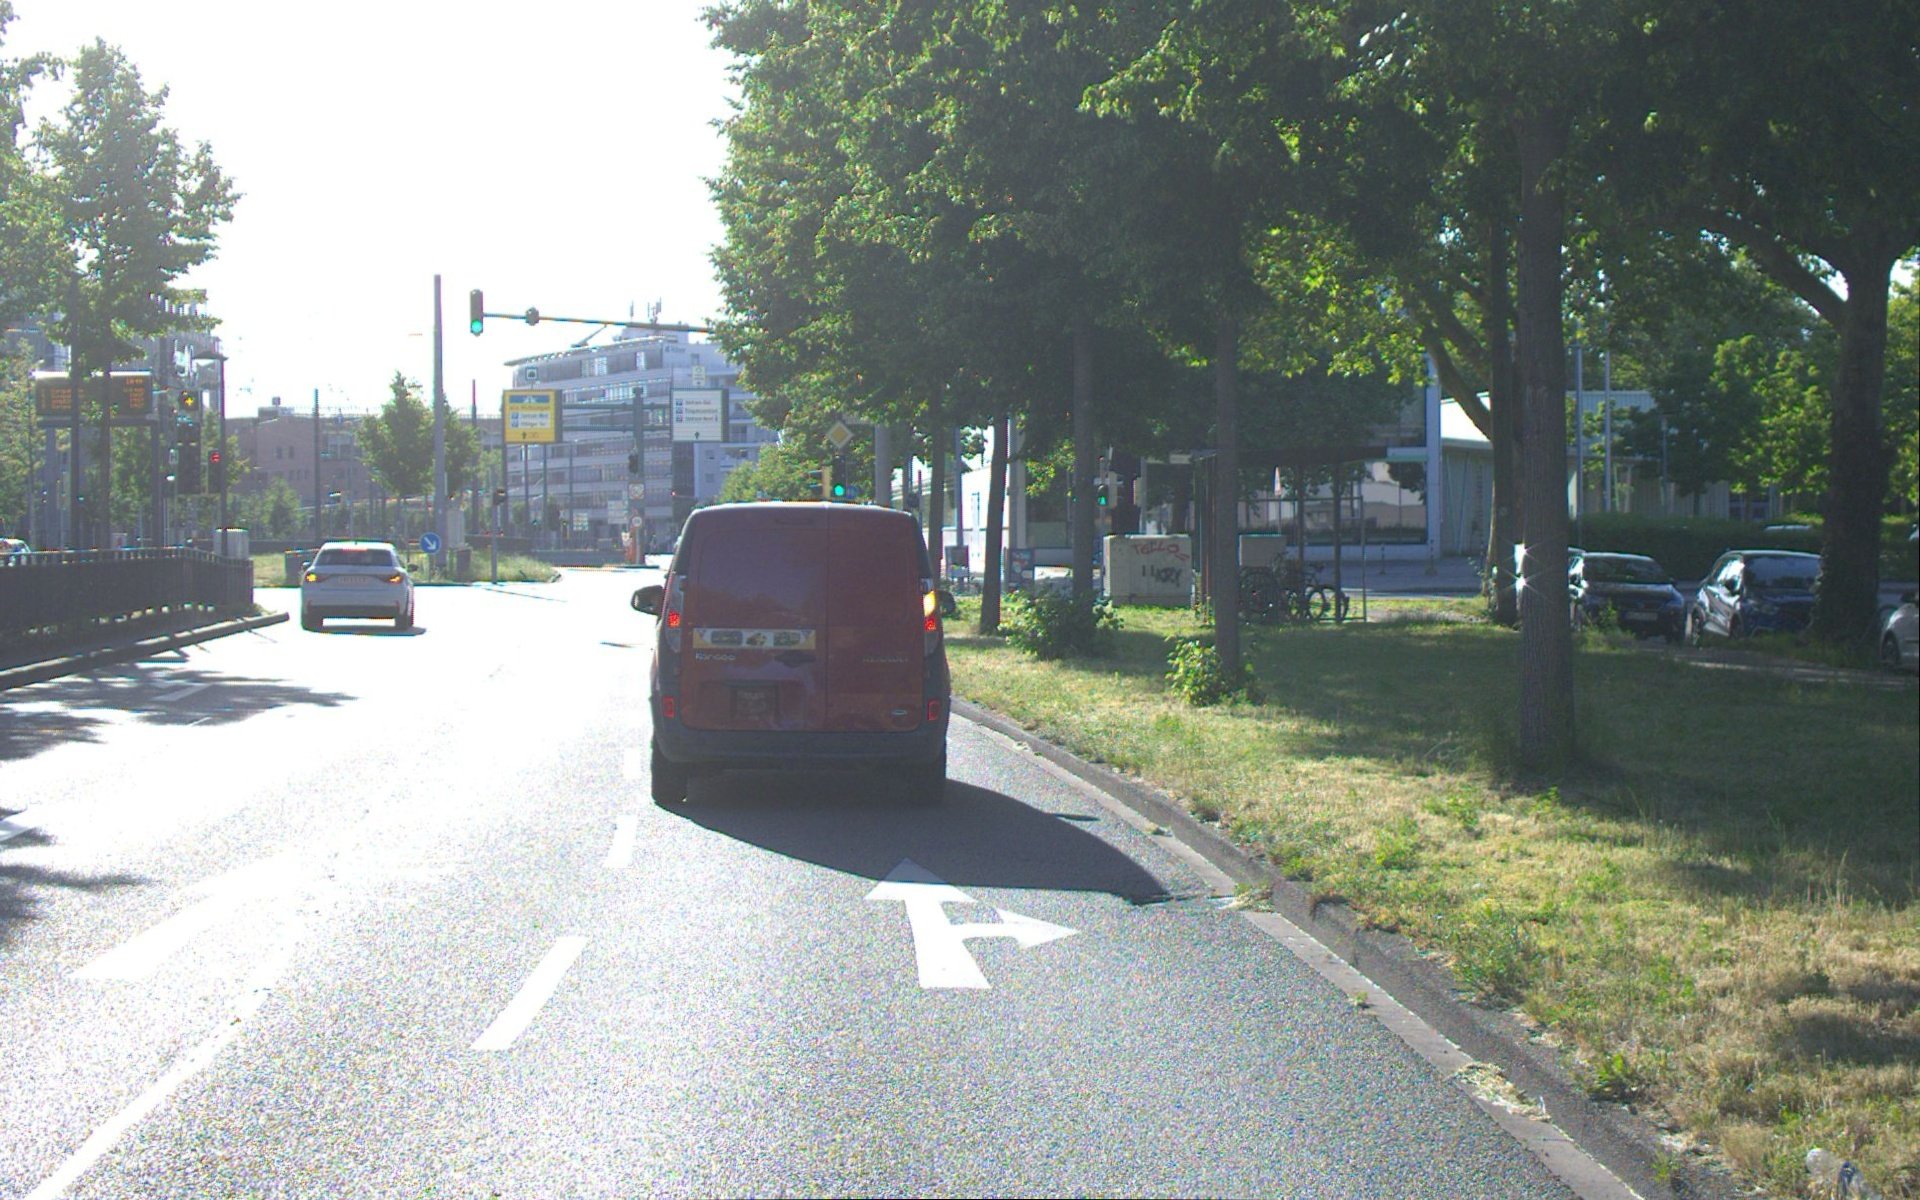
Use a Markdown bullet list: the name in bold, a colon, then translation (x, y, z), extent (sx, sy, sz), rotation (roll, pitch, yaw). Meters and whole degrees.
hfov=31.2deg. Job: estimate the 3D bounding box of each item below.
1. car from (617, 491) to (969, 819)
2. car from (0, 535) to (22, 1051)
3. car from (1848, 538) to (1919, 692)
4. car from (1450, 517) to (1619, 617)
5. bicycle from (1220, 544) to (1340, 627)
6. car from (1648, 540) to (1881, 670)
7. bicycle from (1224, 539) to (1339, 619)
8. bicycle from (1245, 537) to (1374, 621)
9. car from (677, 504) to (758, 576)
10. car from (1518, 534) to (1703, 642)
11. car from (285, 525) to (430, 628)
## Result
- **car**: translation (-1.142, 0.295, 21.562), extent (1.808, 1.831, 4.001), rotation (1, 0, -8)
- **car**: translation (-3.573, 0.584, 7.411), extent (1.952, 1.475, 5.085), rotation (1, 1, -3)
- **car**: translation (11.401, 0.142, 37.753), extent (1.871, 1.678, 4.001), rotation (-1, 1, -6)
- **car**: translation (10.173, -0.596, 61.114), extent (1.871, 1.678, 4.001), rotation (1, 0, -7)
- **bicycle**: translation (4.999, -0.229, 53.757), extent (1.778, 1.264, 0.479), rotation (1, 0, -4)
- **car**: translation (11.054, 0.048, 47.505), extent (1.871, 1.678, 4.001), rotation (1, 0, -6)
- **bicycle**: translation (5.139, -0.338, 54.954), extent (1.778, 1.264, 0.479), rotation (0, 1, -4)
- **bicycle**: translation (5.366, -0.326, 52.856), extent (1.917, 1.264, 0.479), rotation (0, 1, -4)
- **car**: translation (-6.974, -1.728, 99.165), extent (2.269, 2.007, 4.710), rotation (0, 1, -4)
- **car**: translation (10.662, -0.208, 56.629), extent (1.871, 1.678, 4.001), rotation (1, 0, -6)
- **car**: translation (-9.964, -0.398, 57.084), extent (1.993, 1.612, 4.001), rotation (1, 0, -5)
